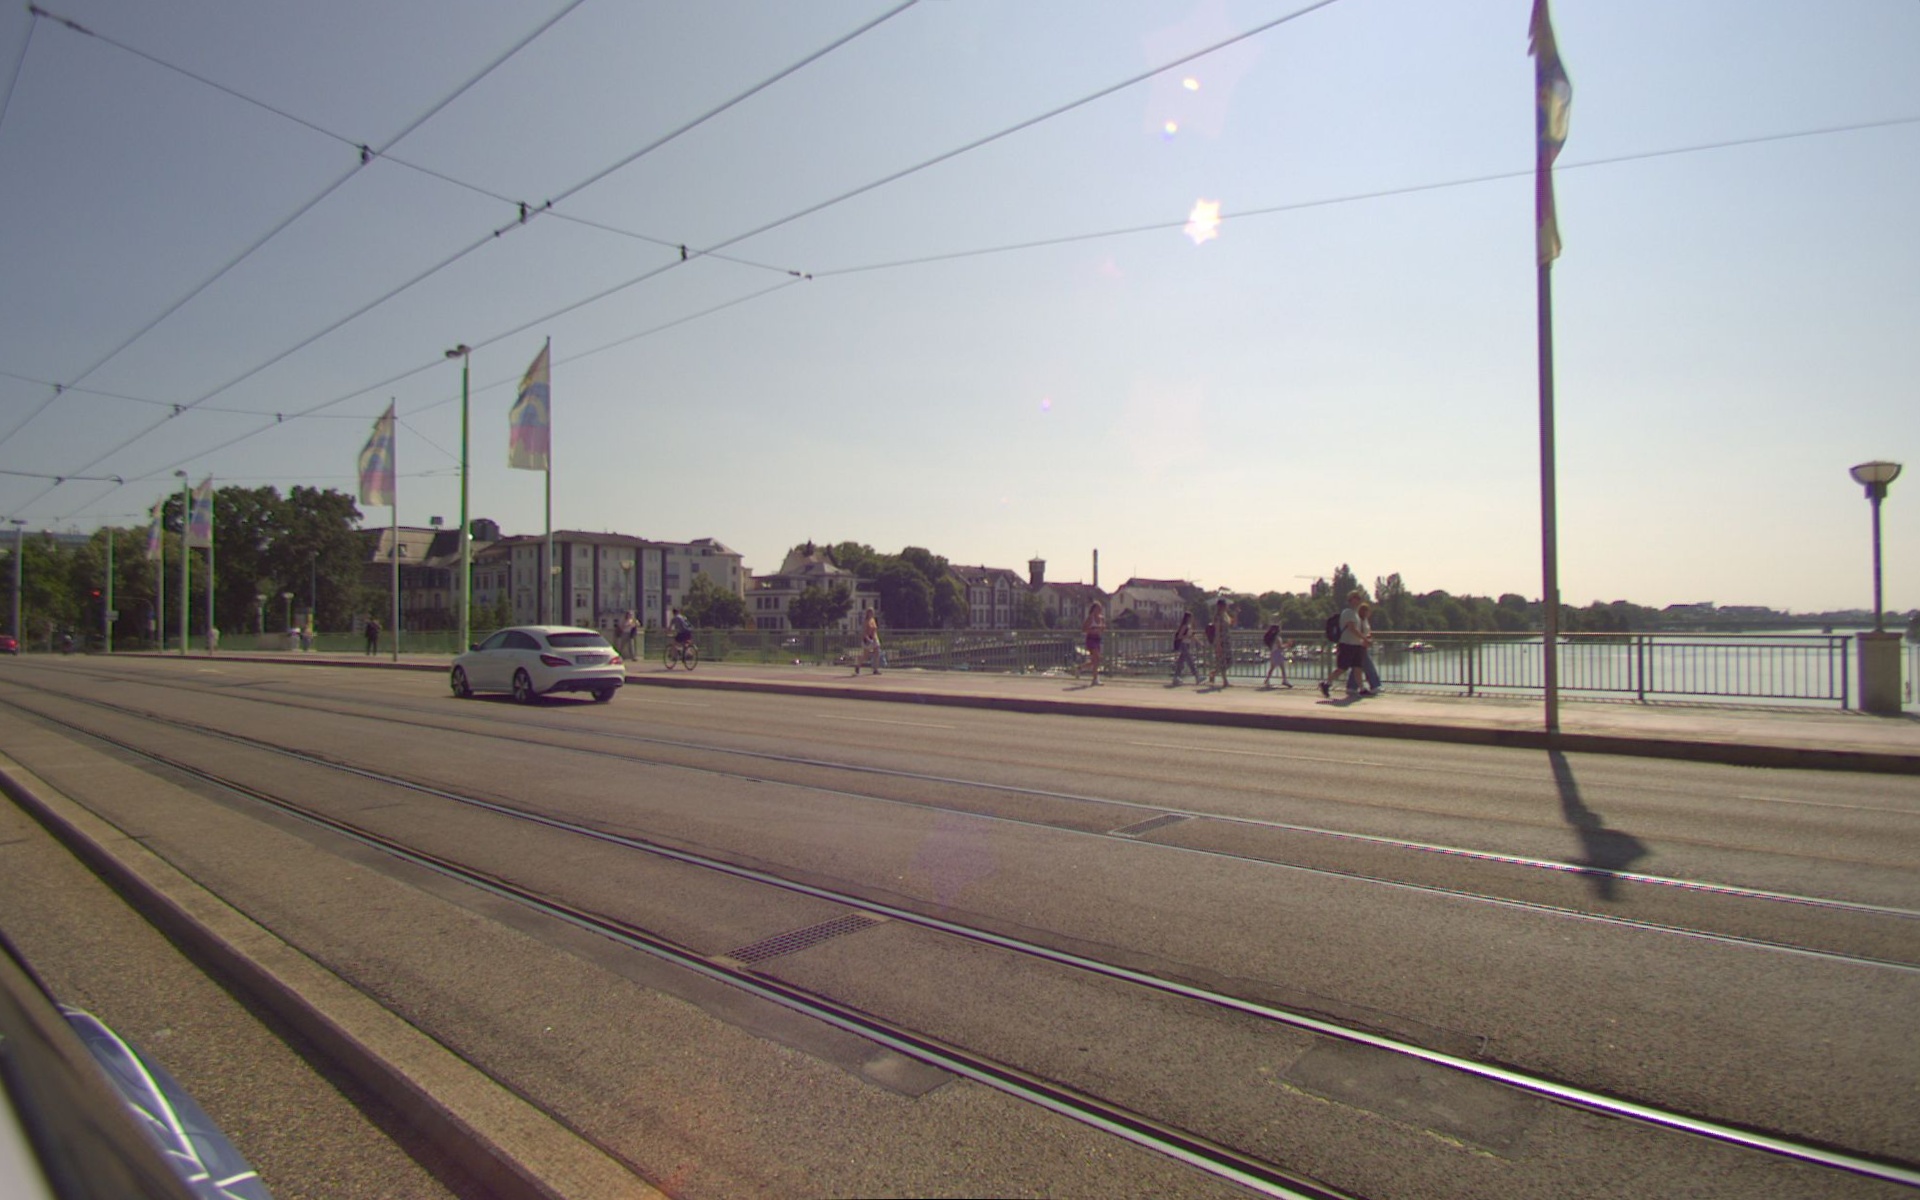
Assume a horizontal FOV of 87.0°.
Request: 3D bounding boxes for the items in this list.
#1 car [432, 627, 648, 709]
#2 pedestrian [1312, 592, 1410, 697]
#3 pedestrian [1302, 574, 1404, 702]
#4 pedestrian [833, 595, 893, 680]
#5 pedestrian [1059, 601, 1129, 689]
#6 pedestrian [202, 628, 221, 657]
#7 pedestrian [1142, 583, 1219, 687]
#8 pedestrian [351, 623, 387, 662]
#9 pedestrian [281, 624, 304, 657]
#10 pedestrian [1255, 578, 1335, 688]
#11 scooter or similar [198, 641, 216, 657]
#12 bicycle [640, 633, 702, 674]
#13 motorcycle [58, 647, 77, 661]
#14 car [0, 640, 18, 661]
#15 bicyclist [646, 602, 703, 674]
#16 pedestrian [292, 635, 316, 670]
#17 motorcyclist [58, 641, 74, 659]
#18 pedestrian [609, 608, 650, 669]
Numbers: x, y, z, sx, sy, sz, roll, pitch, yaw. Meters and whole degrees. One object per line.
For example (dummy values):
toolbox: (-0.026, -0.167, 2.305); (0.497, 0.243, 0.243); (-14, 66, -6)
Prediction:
car: (-8.275, 1.278, 19.766); (4.542, 1.420, 1.974); (-2, -4, 39)
pedestrian: (6.983, 0.767, 17.618); (1.293, 1.742, 1.087); (-3, -2, 38)
pedestrian: (6.573, 0.632, 16.921); (1.293, 2.029, 1.087); (-3, -2, 38)
pedestrian: (-2.396, 0.919, 24.944); (1.099, 2.029, 0.960); (-2, -2, 35)
pedestrian: (2.727, 0.907, 20.627); (1.174, 1.735, 0.747); (-1, -1, 38)
pedestrian: (-50.427, 2.850, 68.160); (0.974, 1.867, 0.732); (-3, 1, 38)
pedestrian: (4.496, 0.705, 20.603); (1.127, 2.029, 1.087); (-3, -2, 38)
pedestrian: (-27.460, 1.977, 47.023); (1.293, 1.772, 1.087); (-3, -2, 38)
pedestrian: (-37.389, 2.268, 56.672); (0.956, 1.797, 0.732); (-3, 1, 38)
pedestrian: (6.452, 0.639, 19.496); (1.128, 2.029, 1.087); (-3, -2, 38)
scooter or similar: (-51.124, 3.309, 68.737); (0.831, 1.037, 0.732); (-3, 1, 38)
bicycle: (-8.175, 1.511, 28.599); (2.110, 1.105, 0.583); (-2, -2, 39)
motorcycle: (-72.240, 4.352, 81.903); (1.950, 1.032, 0.836); (-2, -1, 40)
car: (-74.329, 3.891, 78.279); (4.191, 1.526, 1.971); (-2, -1, 44)
bicyclist: (-8.051, 1.078, 28.574); (1.128, 1.976, 1.087); (-3, -2, 38)
pedestrian: (-37.031, 2.963, 57.121); (1.120, 1.862, 0.732); (-3, 1, 38)
motorcyclist: (-72.474, 4.058, 82.069); (0.897, 1.412, 0.836); (-2, -1, 38)
pedestrian: (-11.207, 1.313, 34.308); (1.040, 2.029, 0.890); (-3, -2, 38)
